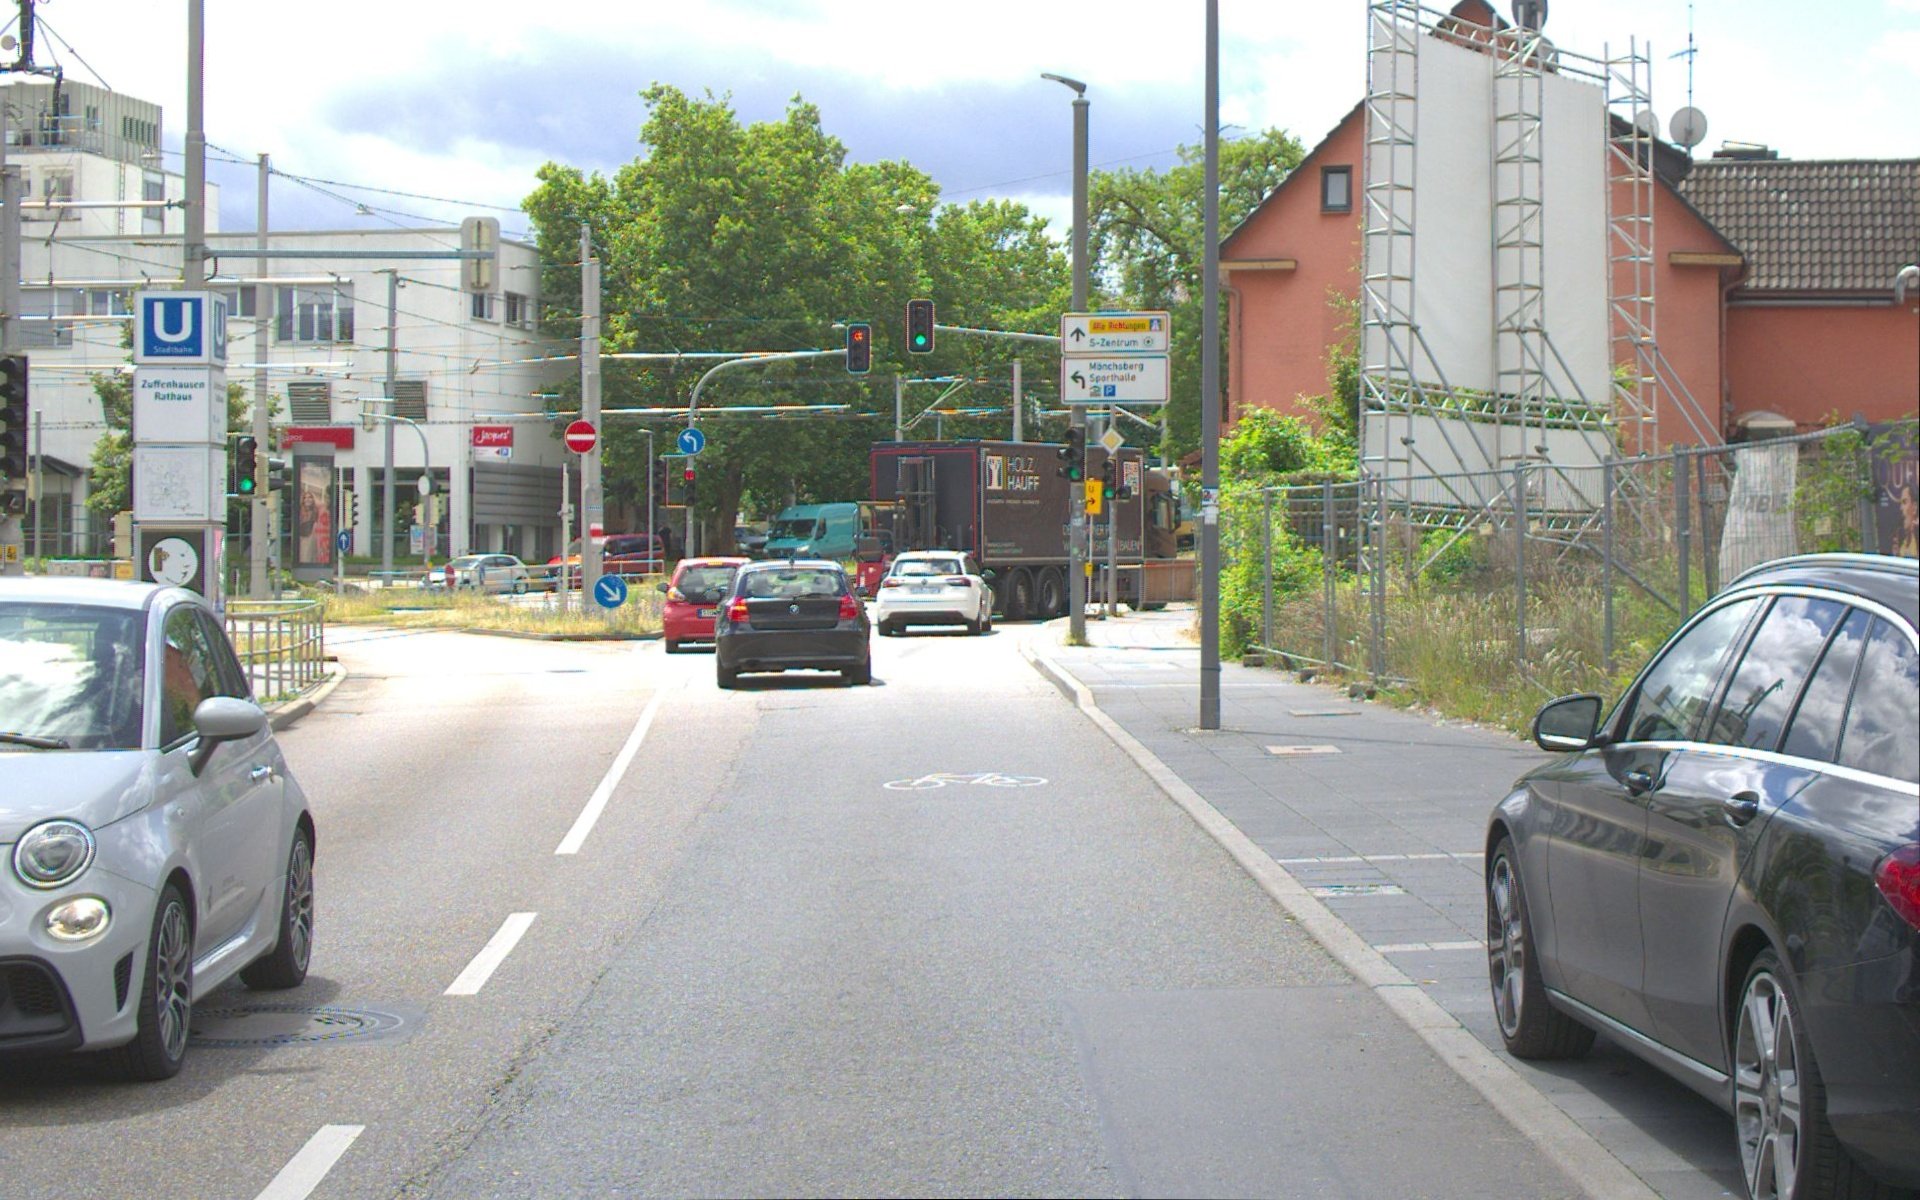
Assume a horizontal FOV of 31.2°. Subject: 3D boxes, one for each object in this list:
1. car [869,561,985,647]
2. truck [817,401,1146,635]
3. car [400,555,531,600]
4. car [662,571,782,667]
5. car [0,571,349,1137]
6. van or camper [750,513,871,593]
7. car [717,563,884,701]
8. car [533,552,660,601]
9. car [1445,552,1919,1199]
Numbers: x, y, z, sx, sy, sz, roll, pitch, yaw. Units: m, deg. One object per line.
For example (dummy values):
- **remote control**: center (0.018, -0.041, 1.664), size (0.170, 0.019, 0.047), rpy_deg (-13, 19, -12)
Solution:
- **car**: center (-0.555, 0.077, 61.538), size (1.888, 1.460, 4.069), rpy_deg (-1, 0, 2)
- **truck**: center (0.615, -1.589, 72.530), size (3.208, 4.520, 9.015), rpy_deg (1, -1, 27)
- **car**: center (-16.373, -0.731, 113.883), size (1.998, 1.459, 3.991), rpy_deg (0, 0, 39)
- **car**: center (-3.685, 0.275, 53.685), size (1.711, 1.388, 3.809), rpy_deg (-1, 1, -2)
- **car**: center (-3.218, 0.680, 11.296), size (1.770, 1.503, 4.000), rpy_deg (-1, 1, -1)
- **van or camper**: center (-5.645, -1.757, 130.961), size (2.178, 2.796, 6.061), rpy_deg (1, -1, 23)
- **car**: center (-1.861, 0.324, 39.146), size (1.726, 1.451, 3.809), rpy_deg (-1, 1, -5)
- **car**: center (-12.566, -0.826, 119.096), size (1.998, 1.595, 4.190), rpy_deg (0, 1, 38)
- **car**: center (2.476, 0.620, 8.316), size (1.782, 1.447, 4.476), rpy_deg (-2, 1, -2)
